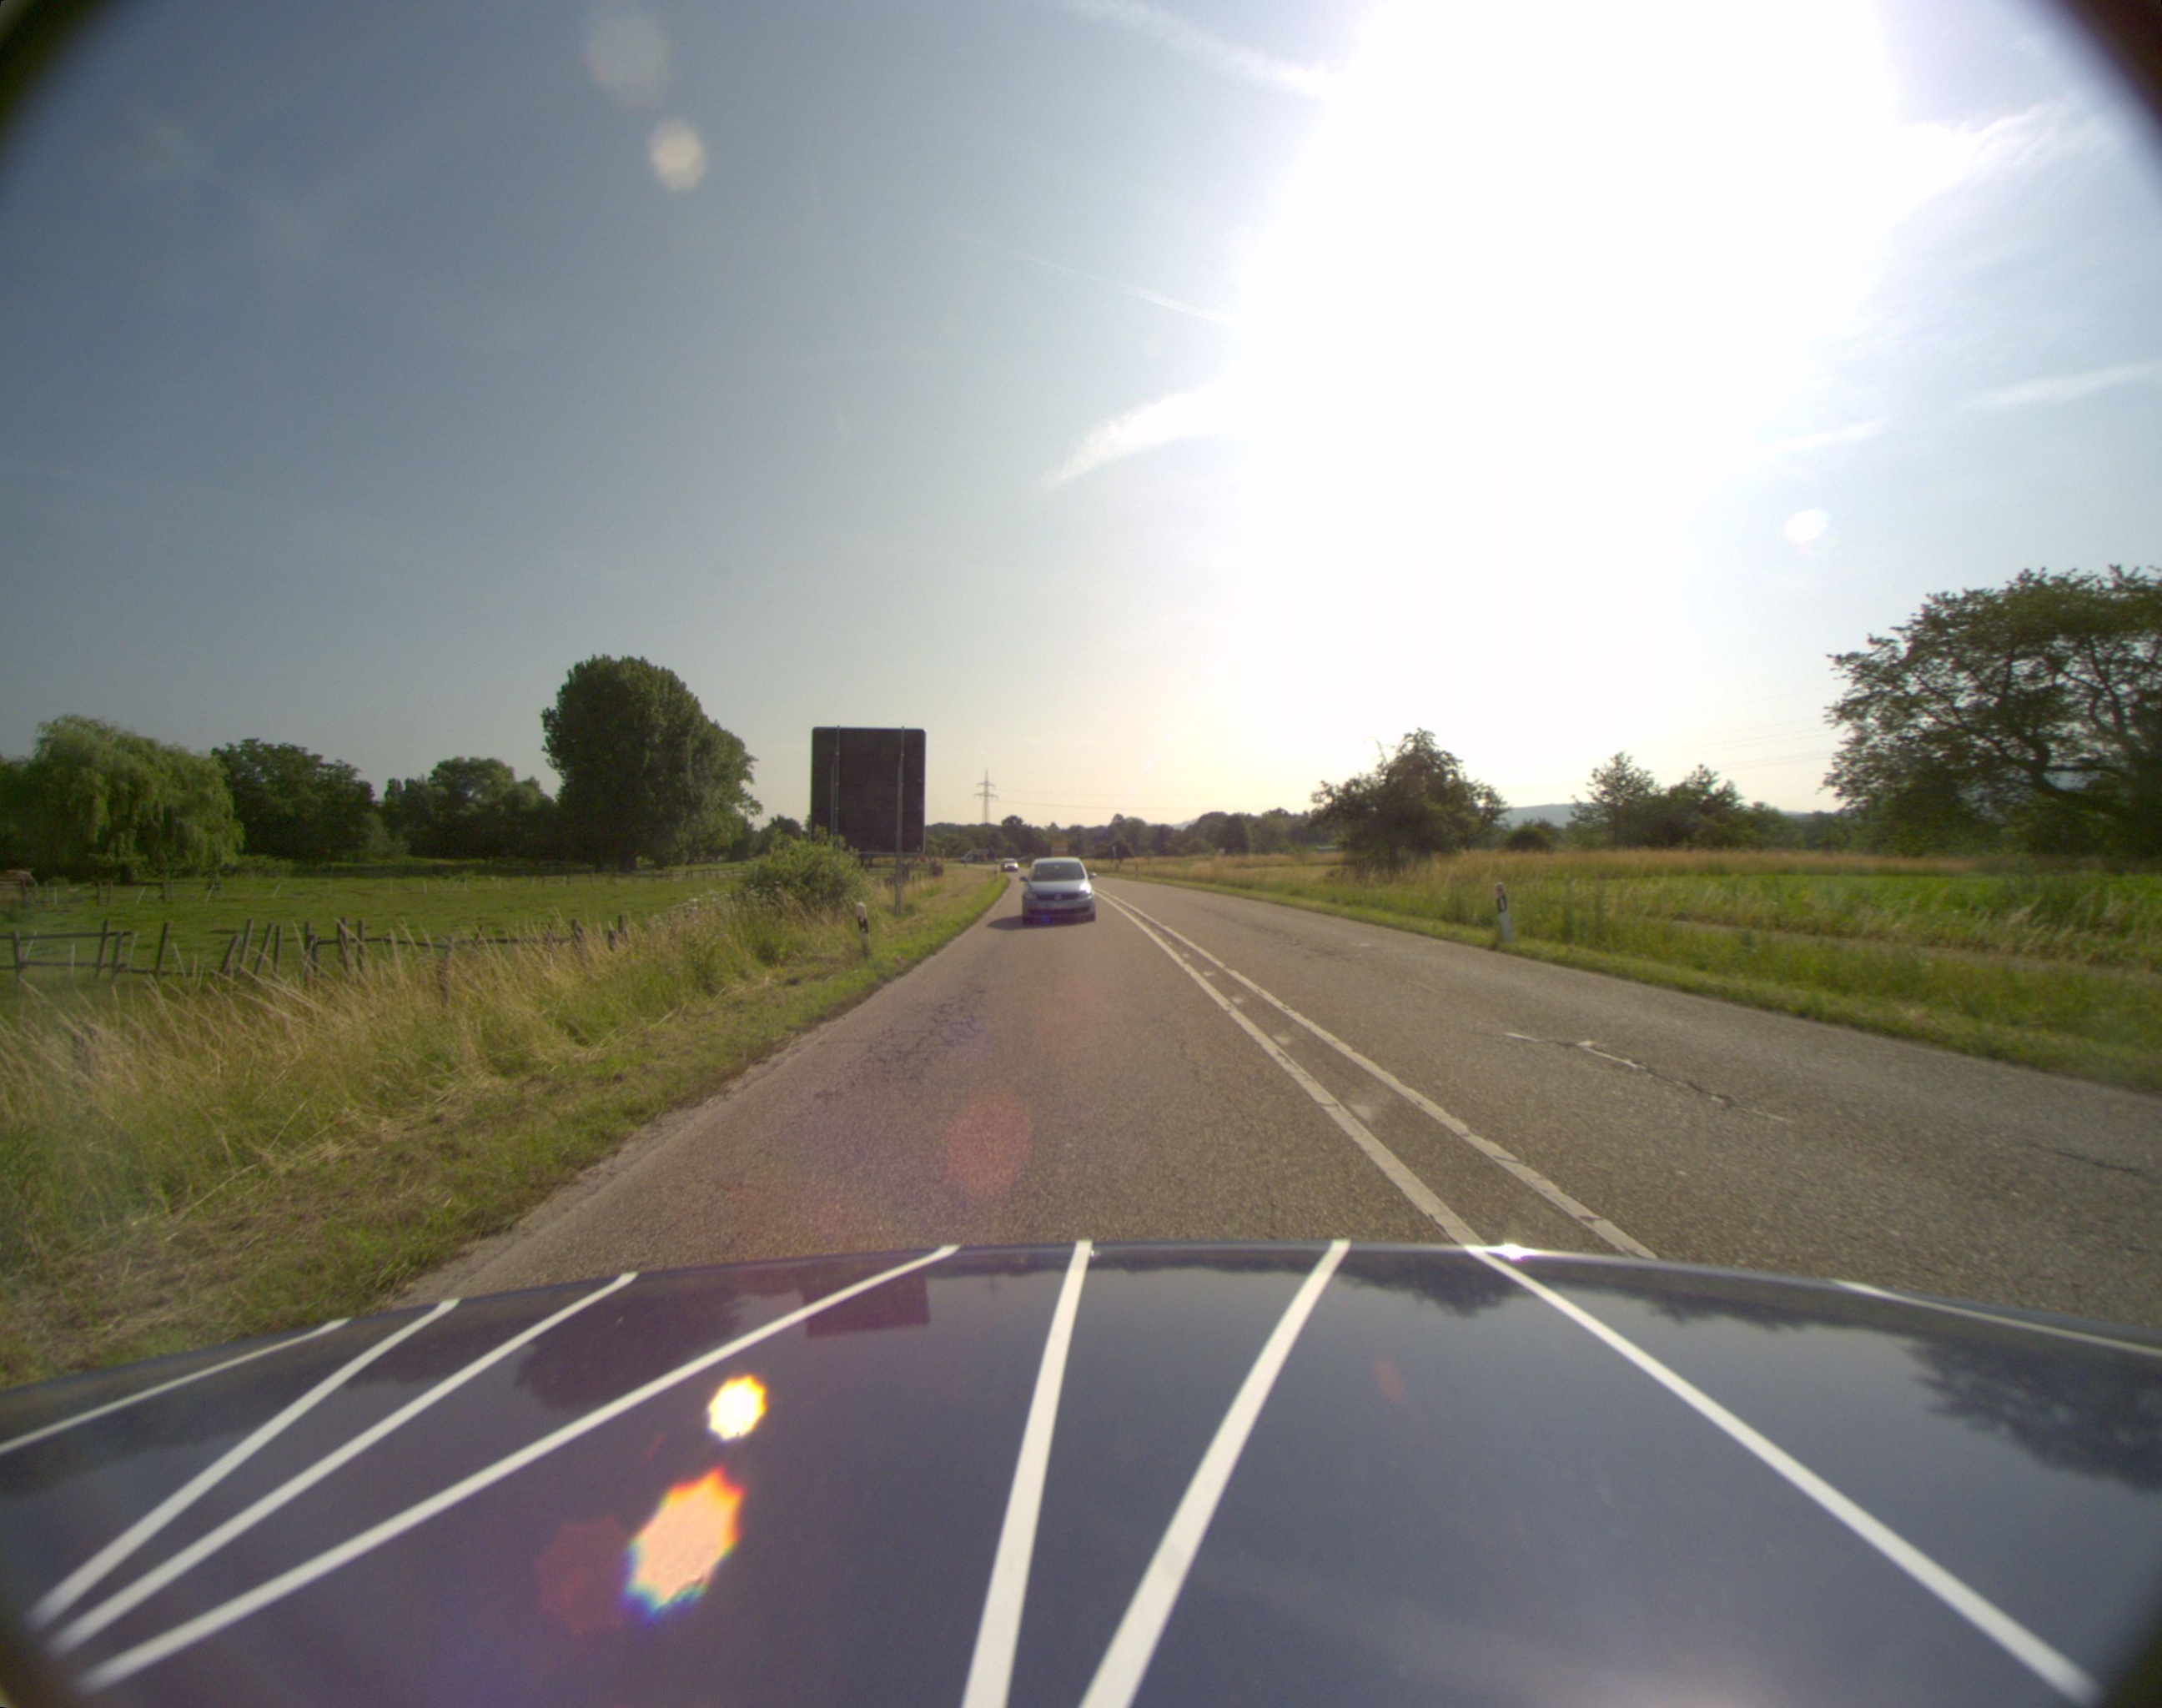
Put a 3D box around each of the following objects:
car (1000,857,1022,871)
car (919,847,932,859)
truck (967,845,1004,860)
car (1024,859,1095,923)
[{"bbox_3d":[-8.446,1.146,91.620,2.001,1.570,3.904,-1,0,-14],"label":"car"},{"bbox_3d":[-35.104,-0.163,171.479,2.133,2.680,5.258,-1,0,-21],"label":"car"},{"bbox_3d":[-19.602,-0.300,155.446,7.365,3.028,2.582,-1,1,-9],"label":"truck"},{"bbox_3d":[-0.627,0.946,21.178,1.718,1.495,4.092,-3,0,-3],"label":"car"}]
